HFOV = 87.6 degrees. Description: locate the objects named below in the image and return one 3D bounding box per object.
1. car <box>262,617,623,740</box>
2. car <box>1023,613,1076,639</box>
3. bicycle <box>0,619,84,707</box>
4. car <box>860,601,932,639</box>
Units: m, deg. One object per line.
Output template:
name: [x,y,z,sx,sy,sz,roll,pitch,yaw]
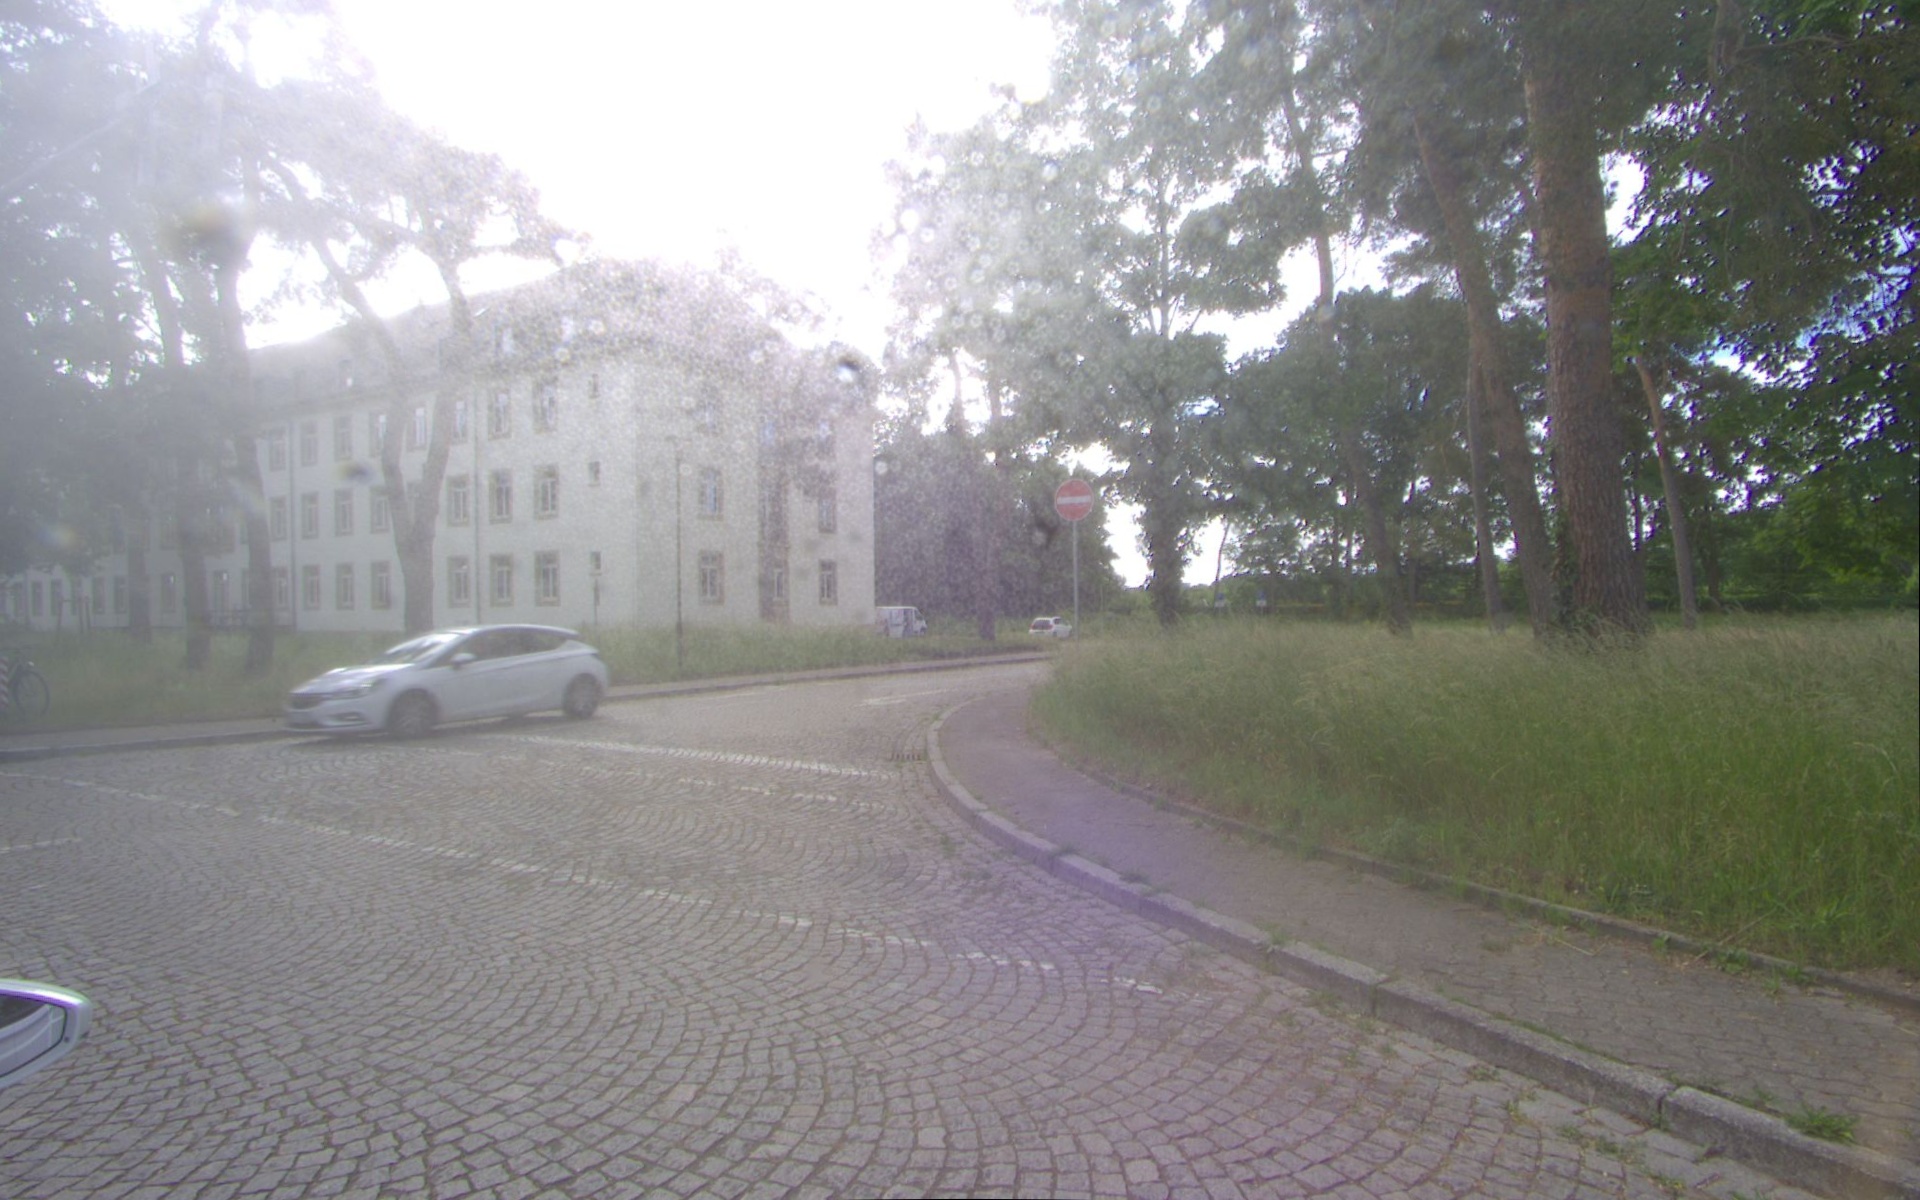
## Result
car: [-7.091,0.987,14.198,1.859,1.434,4.239,-1,-1,29]
car: [5.464,1.543,60.838,1.970,1.527,3.477,-1,-1,30]
bicycle: [-13.704,0.886,14.537,1.845,1.192,0.908,-1,0,29]
car: [-4.142,1.290,65.432,2.180,2.318,5.173,-1,-1,30]
